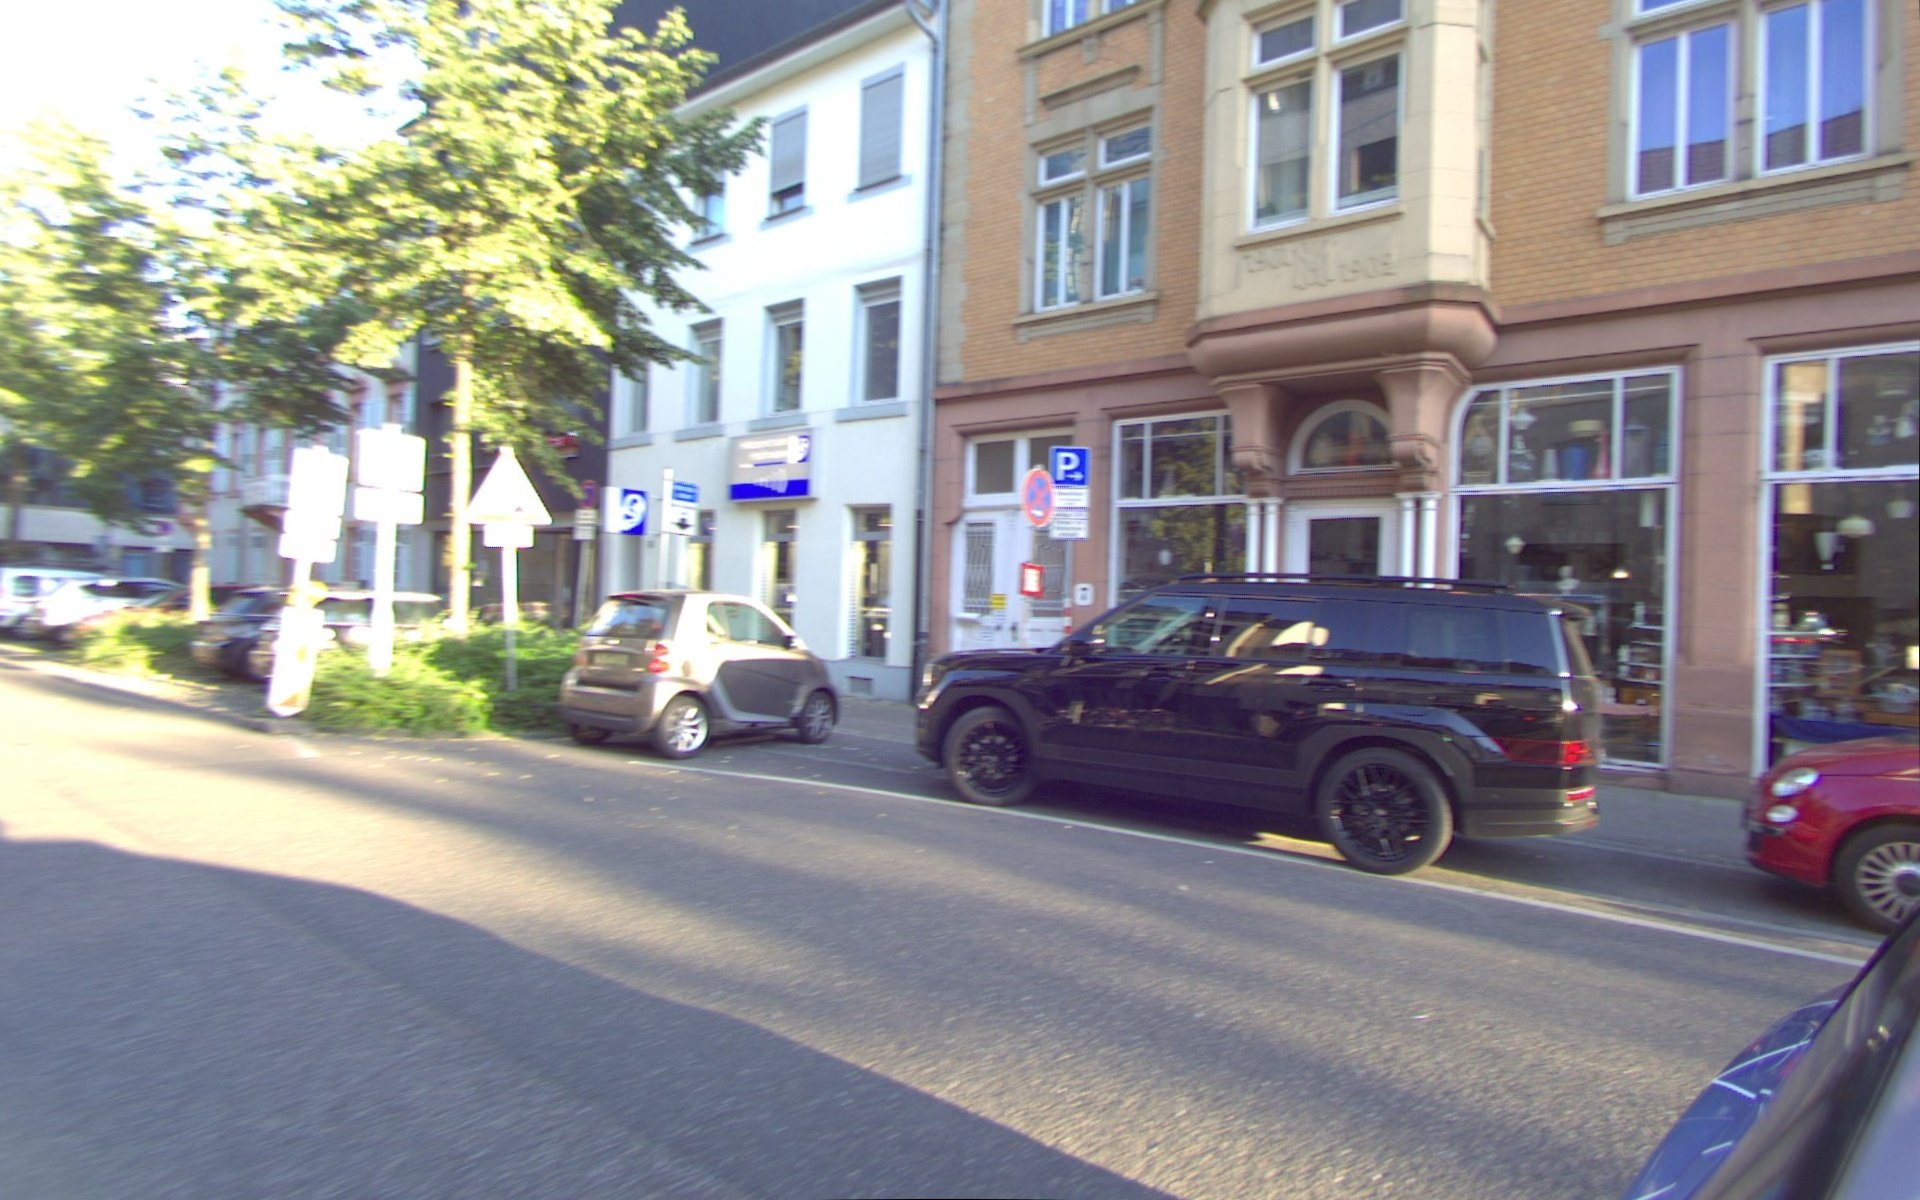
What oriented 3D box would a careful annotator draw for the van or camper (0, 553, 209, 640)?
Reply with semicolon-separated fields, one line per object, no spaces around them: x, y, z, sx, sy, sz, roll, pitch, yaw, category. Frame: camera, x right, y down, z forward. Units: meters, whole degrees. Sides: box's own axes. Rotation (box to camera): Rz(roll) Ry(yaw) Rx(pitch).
-22.675;-0.032;26.518;1.847;2.031;4.396;1;-2;35;van or camper

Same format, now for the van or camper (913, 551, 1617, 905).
2.028;0.629;7.253;4.428;1.830;1.873;2;-1;33;van or camper

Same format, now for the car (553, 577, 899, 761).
-2.317;0.633;10.743;1.498;1.596;3.436;2;-1;35;car

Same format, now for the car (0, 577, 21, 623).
-33.238;-0.051;33.428;1.819;1.588;3.704;3;-2;-19;car

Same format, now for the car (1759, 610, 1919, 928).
6.163;0.920;5.032;3.406;1.590;1.508;2;-2;40;car

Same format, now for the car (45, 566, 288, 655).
-16.823;0.265;21.606;1.847;1.691;3.648;1;-2;36;car

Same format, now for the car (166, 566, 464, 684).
-10.444;0.430;16.618;1.847;1.691;3.648;1;-2;36;car

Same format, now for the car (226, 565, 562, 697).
-8.324;0.470;15.212;1.847;1.691;3.956;1;-2;35;car

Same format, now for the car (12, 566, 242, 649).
-18.894;0.211;23.092;1.847;1.691;3.648;1;-2;36;car
